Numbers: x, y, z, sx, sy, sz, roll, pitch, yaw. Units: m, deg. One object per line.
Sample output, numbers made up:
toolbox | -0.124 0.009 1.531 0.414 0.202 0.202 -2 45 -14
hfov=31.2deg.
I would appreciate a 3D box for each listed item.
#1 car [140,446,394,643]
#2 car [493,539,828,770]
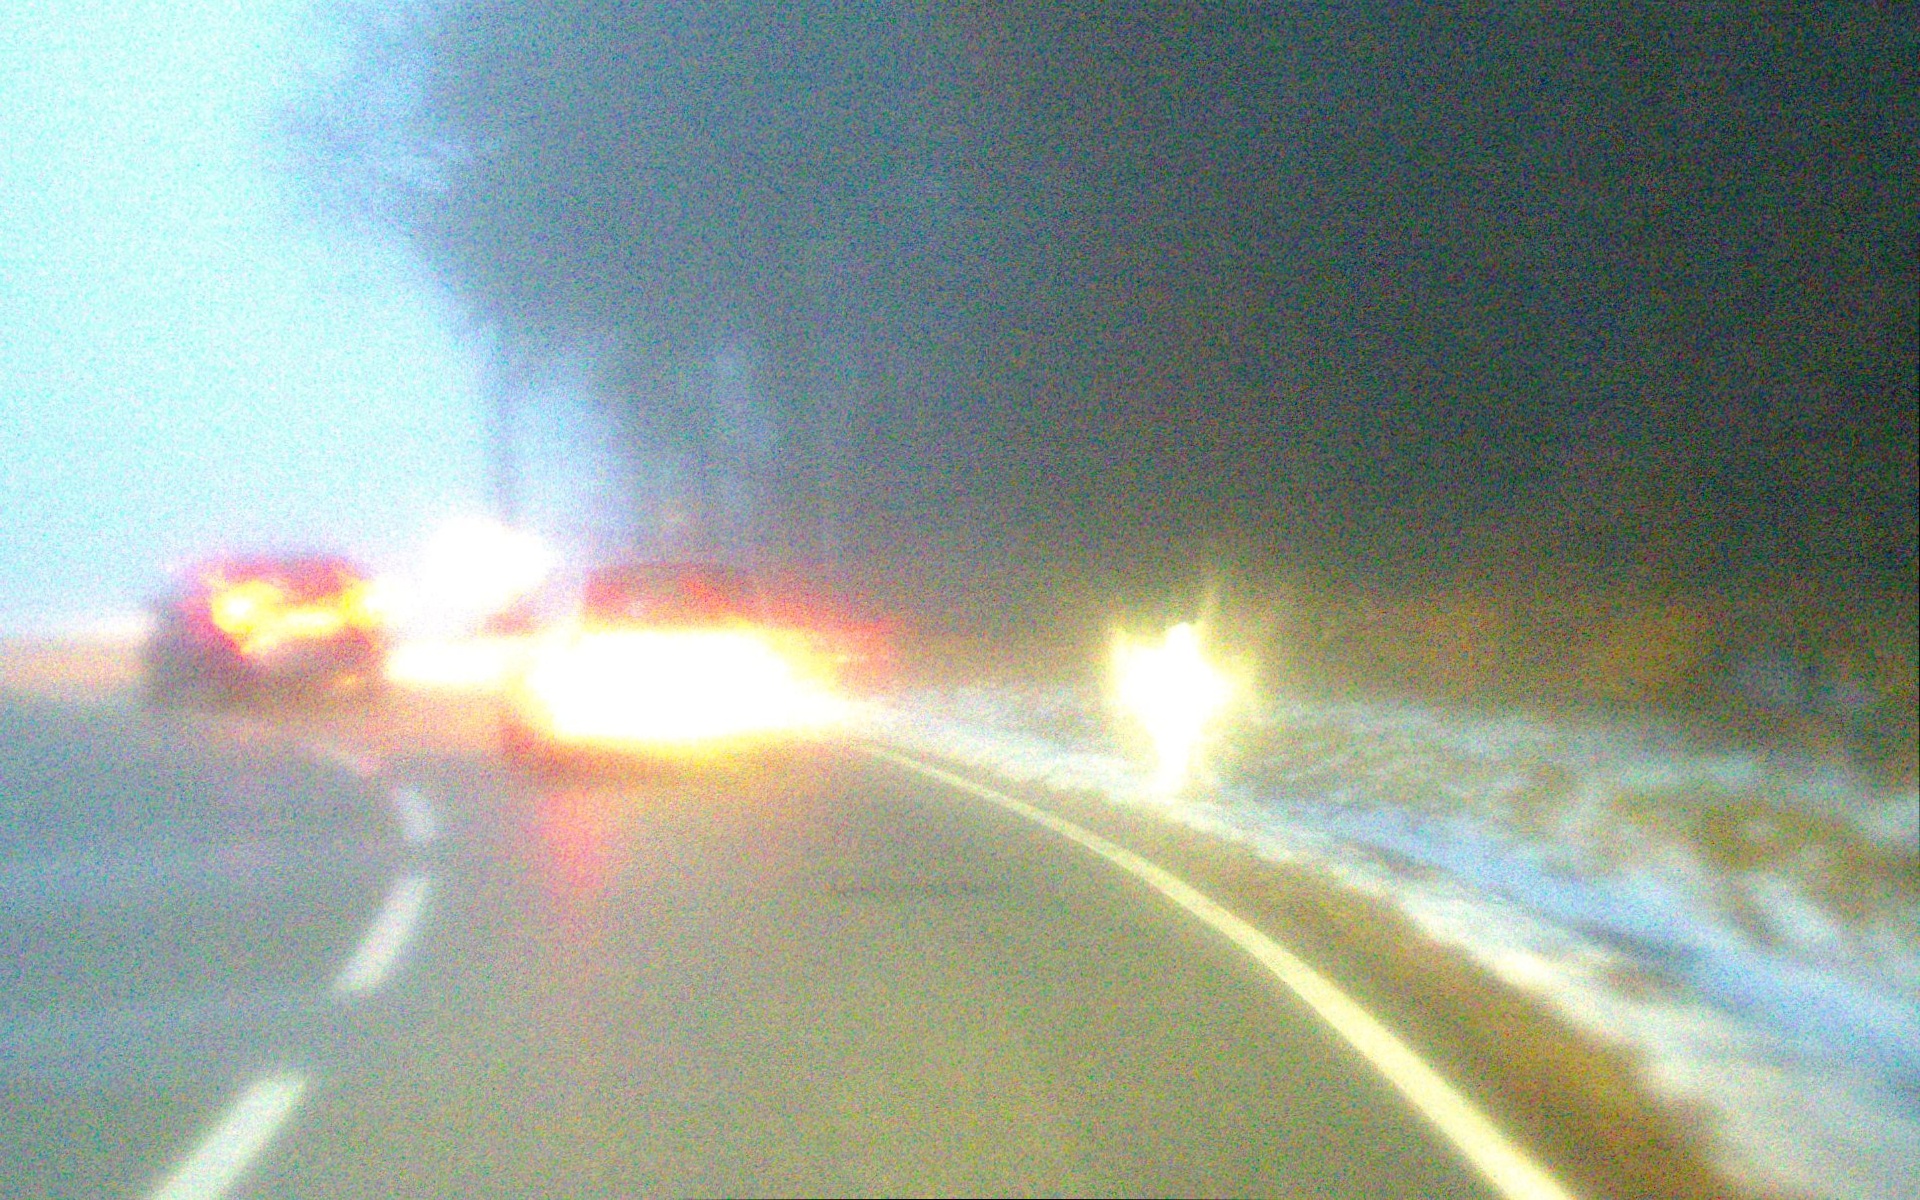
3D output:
car | -7.029 -0.588 34.573 1.993 1.776 4.002 3 1 -18
car | -2.117 0.298 23.263 1.945 1.376 4.001 -1 1 -9
